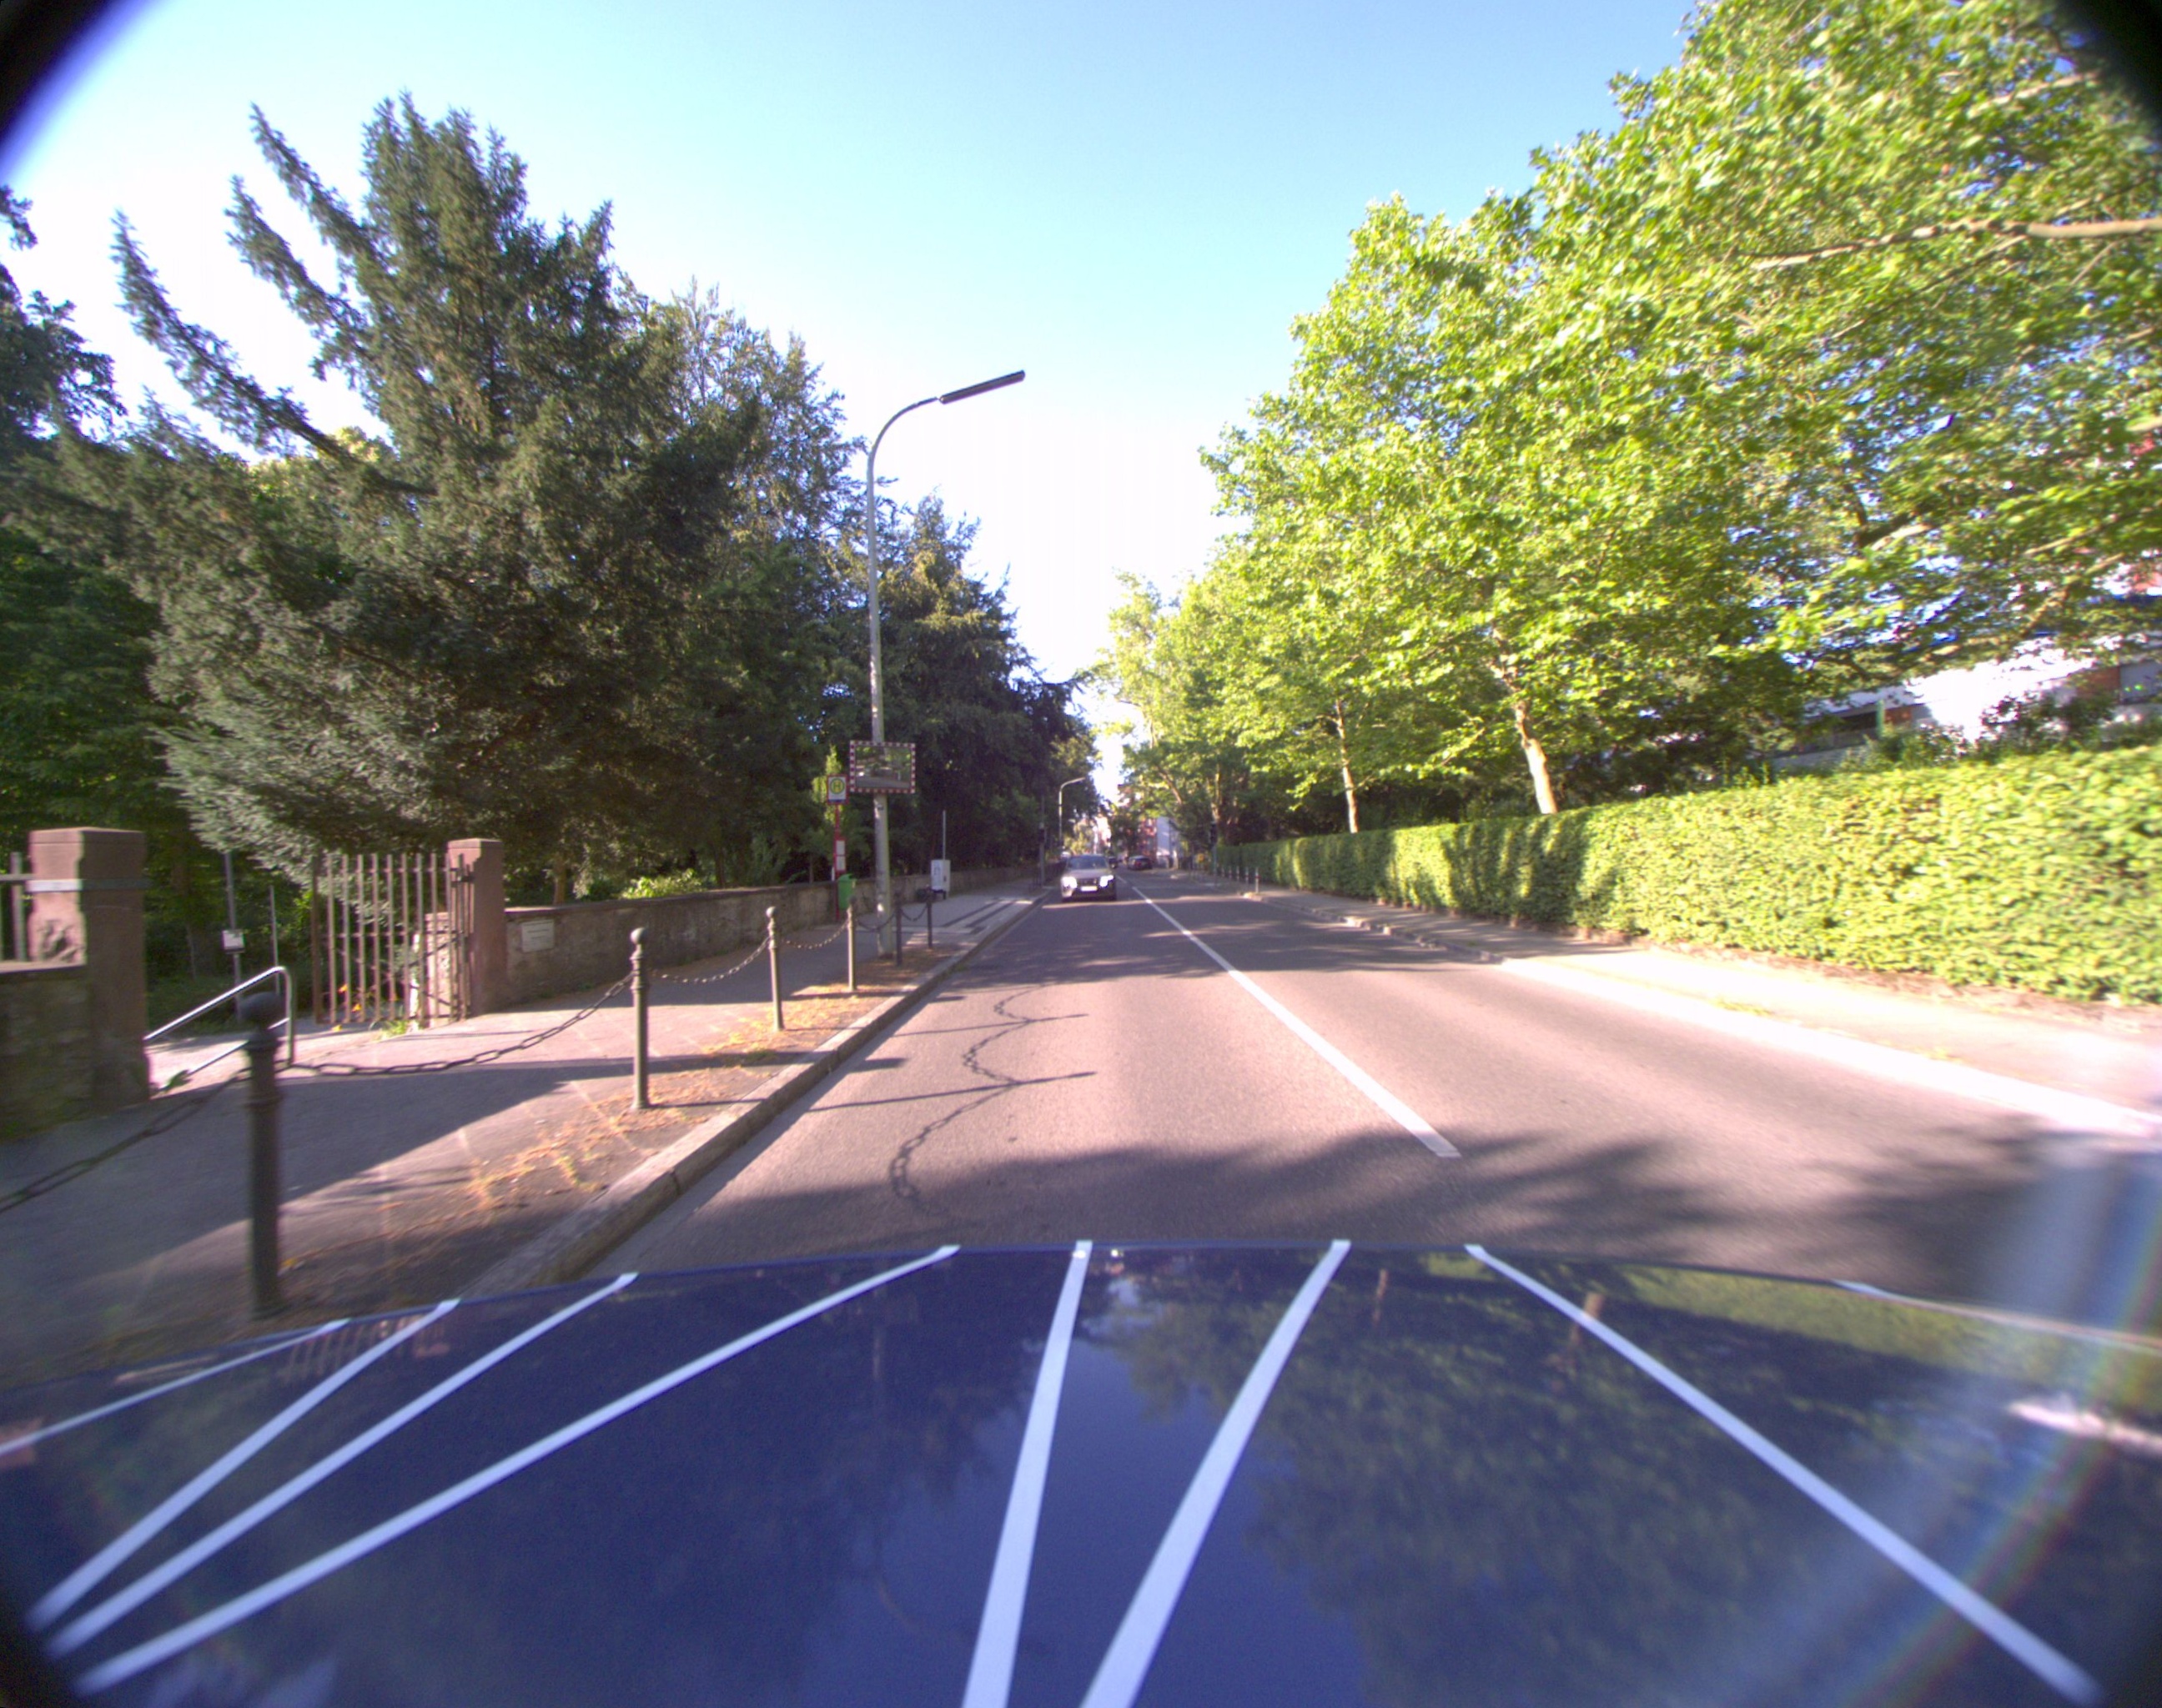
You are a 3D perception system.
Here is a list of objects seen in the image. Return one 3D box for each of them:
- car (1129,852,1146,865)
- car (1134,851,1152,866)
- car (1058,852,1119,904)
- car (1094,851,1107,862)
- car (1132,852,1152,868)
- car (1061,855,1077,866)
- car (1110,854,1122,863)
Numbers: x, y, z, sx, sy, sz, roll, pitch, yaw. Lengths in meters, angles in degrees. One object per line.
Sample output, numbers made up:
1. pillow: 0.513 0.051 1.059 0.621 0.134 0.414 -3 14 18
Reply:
1. car: 6.634 0.516 89.233 1.628 1.425 3.559 -3 0 -1
2. car: 6.885 0.479 84.653 1.628 1.537 3.322 -1 0 -1
3. car: 0.356 0.794 27.147 1.936 1.676 4.433 -1 0 3
4. car: 3.356 0.397 131.164 1.999 1.957 4.776 0 0 -2
5. car: 6.339 0.619 79.168 1.689 1.425 3.616 -5 0 -1
6. car: -1.500 0.804 97.523 1.824 1.375 3.933 1 1 -4
7. car: 6.227 0.816 135.814 1.824 1.375 3.933 1 1 -4
